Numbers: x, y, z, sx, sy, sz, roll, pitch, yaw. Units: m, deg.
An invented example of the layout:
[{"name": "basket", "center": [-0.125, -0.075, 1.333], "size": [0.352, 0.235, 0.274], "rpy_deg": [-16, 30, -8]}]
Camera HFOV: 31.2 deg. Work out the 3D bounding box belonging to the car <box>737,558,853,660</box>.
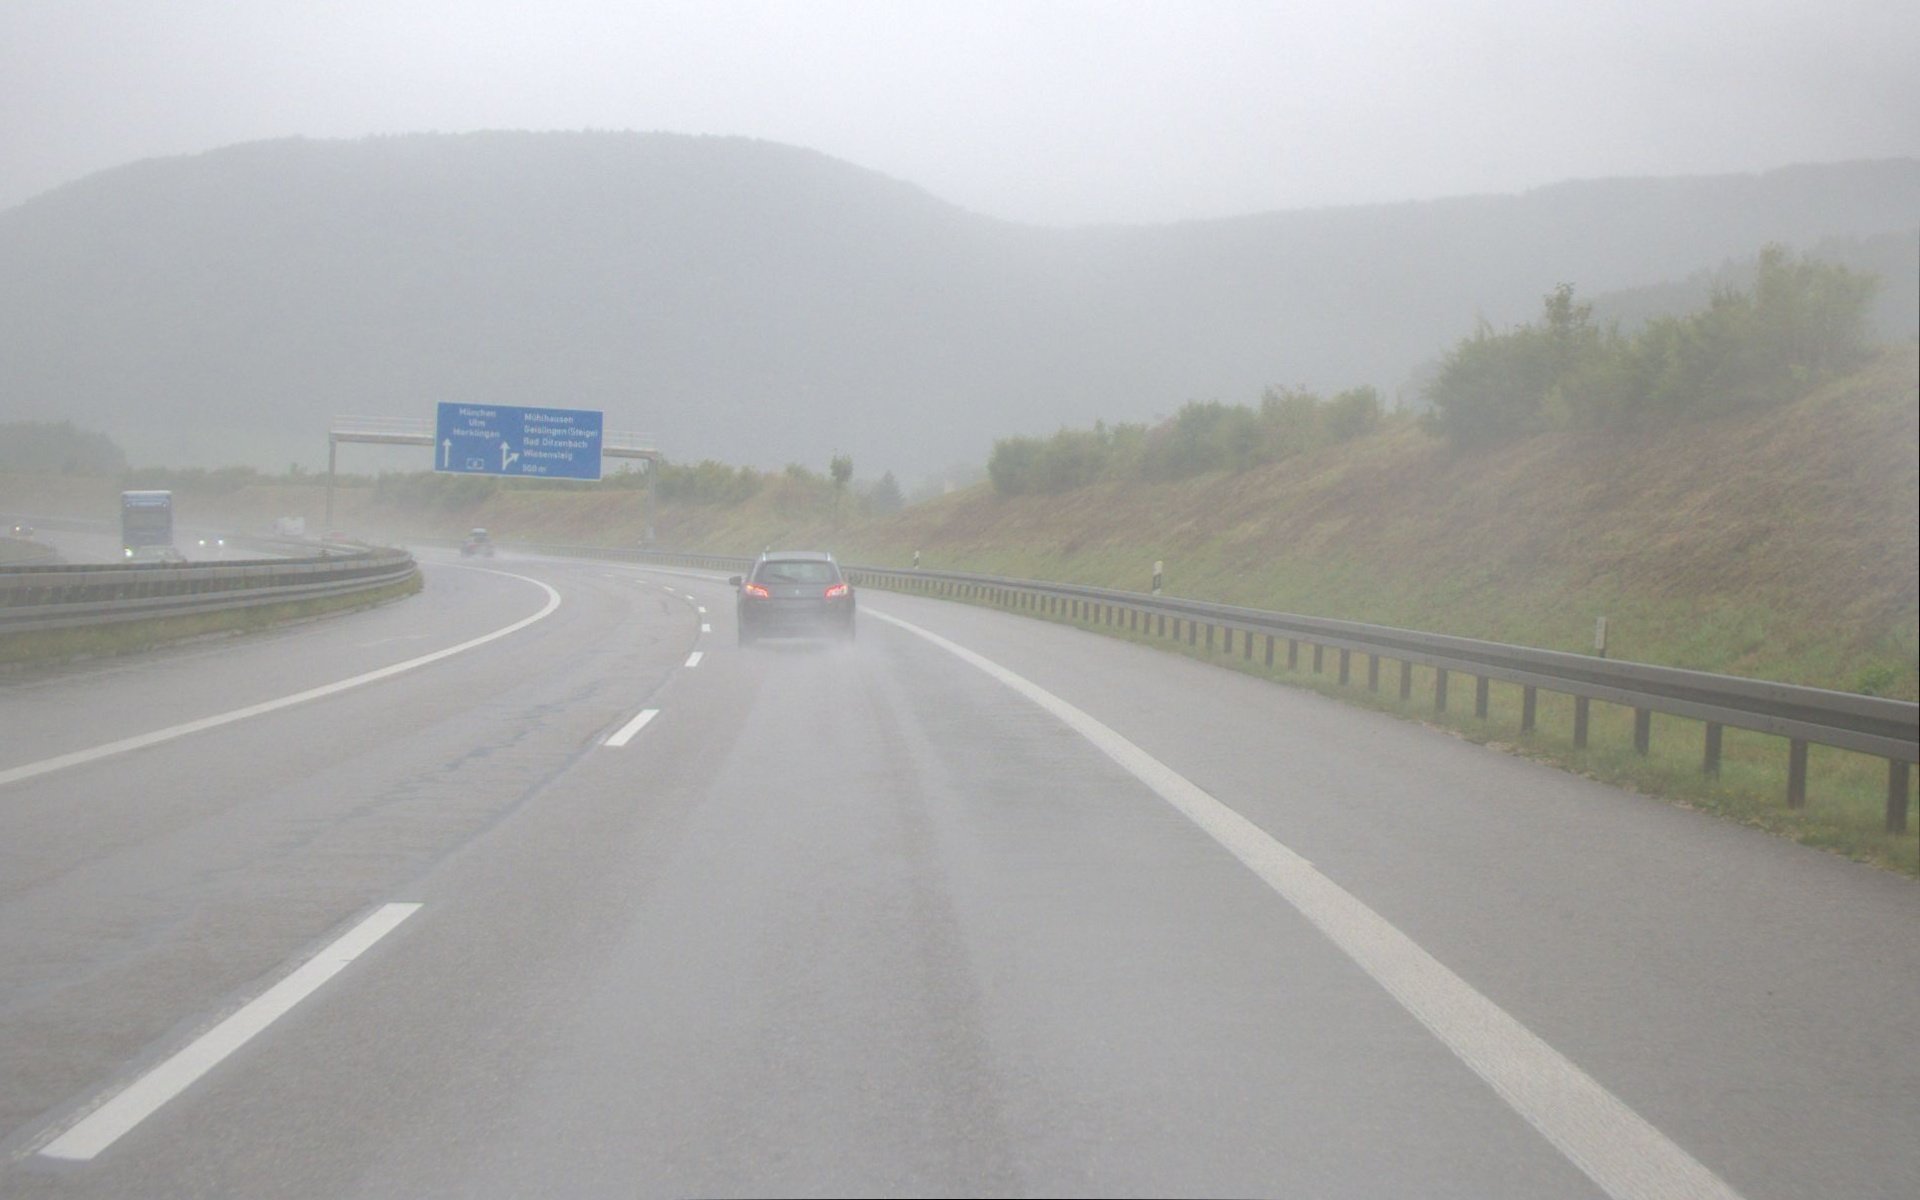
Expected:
[{"name": "car", "center": [-2.511, 0.114, 52.724], "size": [1.679, 1.467, 3.815], "rpy_deg": [1, 1, -2]}]
